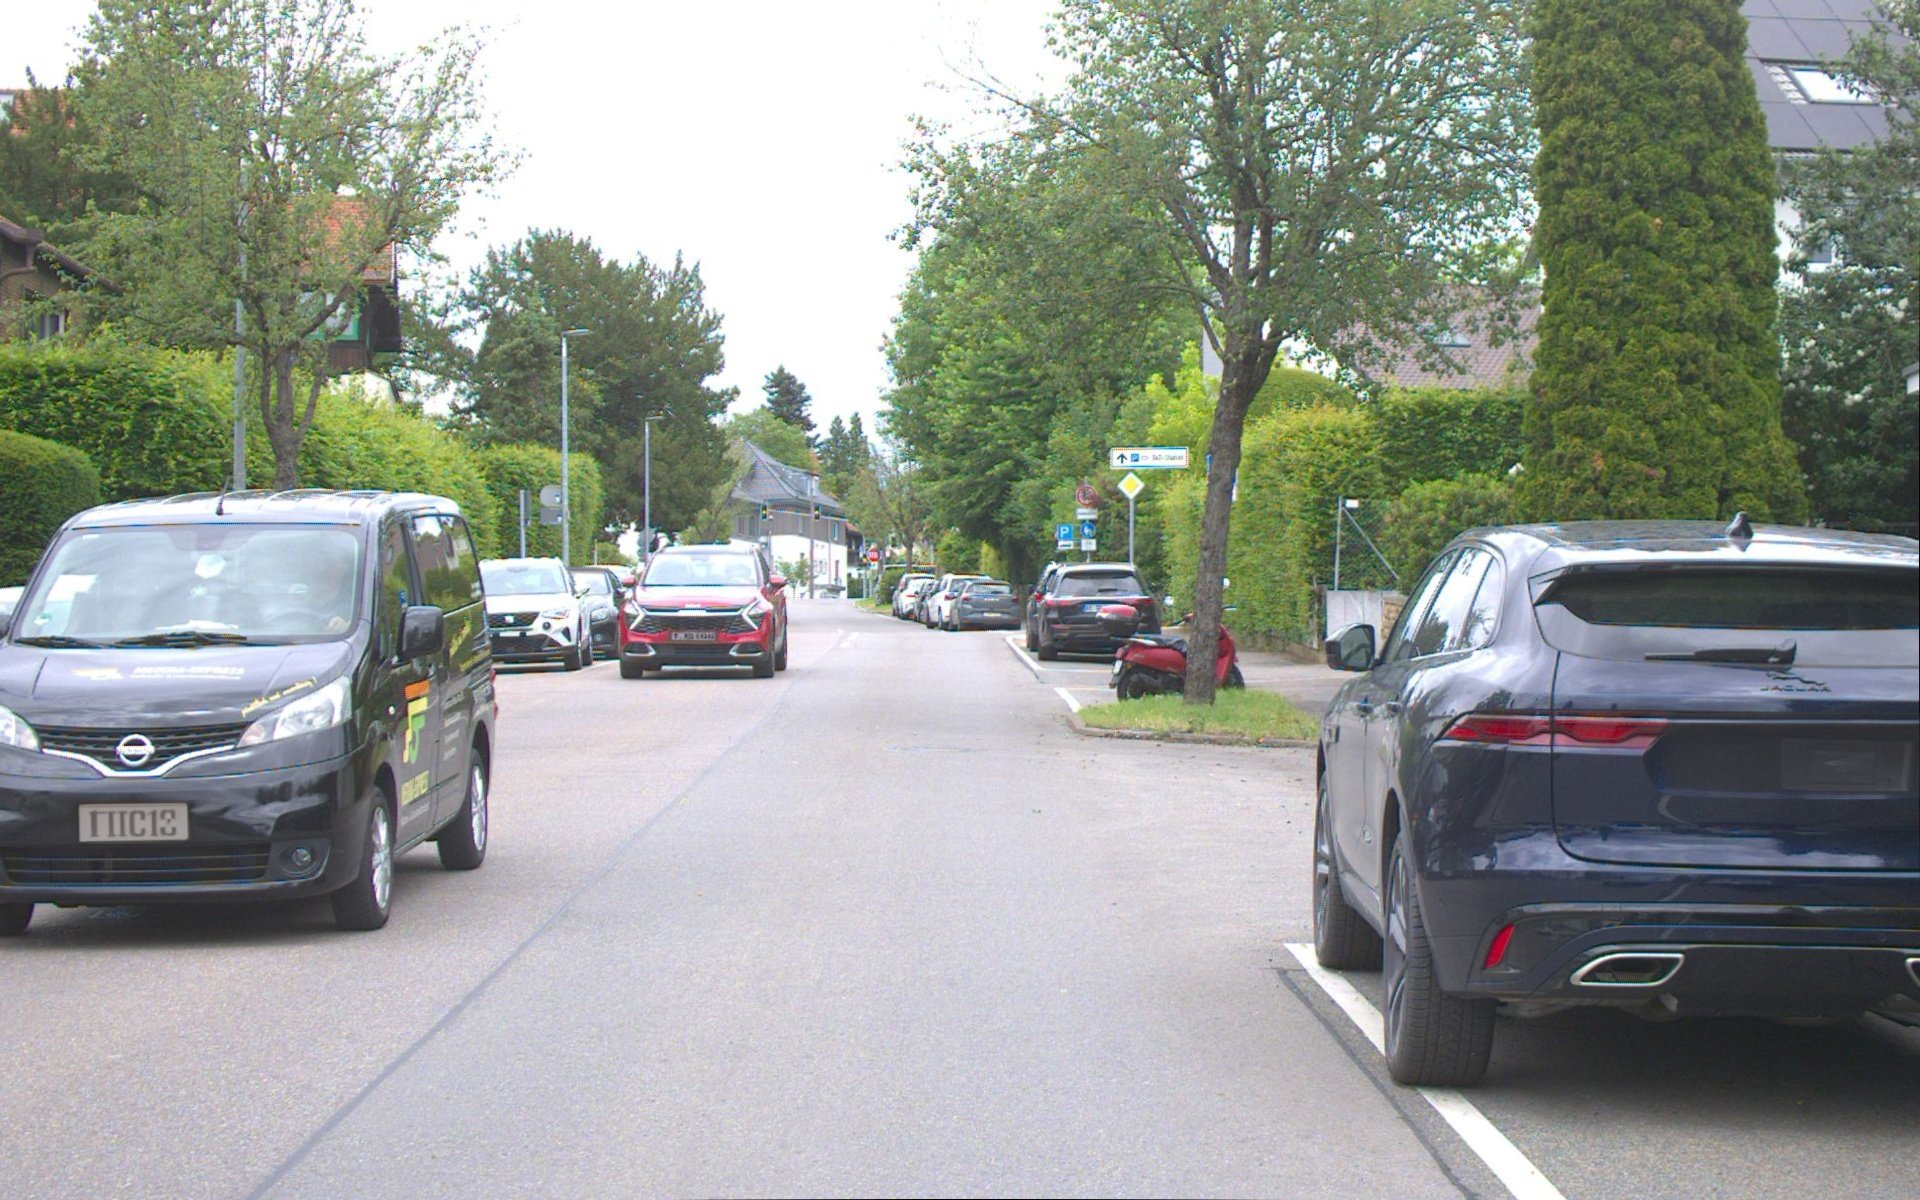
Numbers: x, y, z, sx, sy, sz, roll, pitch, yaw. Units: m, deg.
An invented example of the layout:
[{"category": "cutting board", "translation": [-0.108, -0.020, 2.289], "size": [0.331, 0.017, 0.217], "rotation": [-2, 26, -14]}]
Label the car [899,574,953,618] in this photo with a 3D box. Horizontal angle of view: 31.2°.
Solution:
[{"category": "car", "translation": [-1.203, -0.143, 121.604], "size": [1.664, 1.495, 3.468], "rotation": [0, 1, -4]}]

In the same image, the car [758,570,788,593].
[{"category": "car", "translation": [-11.845, -1.170, 217.198], "size": [1.822, 1.415, 4.001], "rotation": [0, 1, -4]}]

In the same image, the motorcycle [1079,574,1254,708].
[{"category": "motorcycle", "translation": [2.159, 0.411, 35.809], "size": [1.863, 1.342, 0.599], "rotation": [-1, 1, -36]}]

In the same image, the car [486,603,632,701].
[{"category": "car", "translation": [-6.087, 0.783, 52.598], "size": [1.762, 1.383, 4.000], "rotation": [-2, -1, -1]}]

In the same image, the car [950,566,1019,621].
[{"category": "car", "translation": [0.667, -0.207, 96.911], "size": [1.664, 1.495, 3.468], "rotation": [0, 1, -4]}]

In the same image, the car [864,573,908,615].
[{"category": "car", "translation": [-3.106, -0.264, 143.352], "size": [1.643, 1.662, 3.468], "rotation": [0, 1, -4]}]

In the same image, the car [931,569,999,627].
[{"category": "car", "translation": [0.133, -0.068, 101.344], "size": [1.713, 1.652, 3.623], "rotation": [0, 1, -4]}]

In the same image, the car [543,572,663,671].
[{"category": "car", "translation": [-5.947, 0.334, 57.584], "size": [1.630, 1.518, 3.638], "rotation": [-2, 1, -1]}]

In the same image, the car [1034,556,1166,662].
[{"category": "car", "translation": [2.135, 0.110, 53.428], "size": [1.882, 1.528, 4.475], "rotation": [1, 1, 1]}]

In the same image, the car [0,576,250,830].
[{"category": "car", "translation": [-5.899, 0.598, 21.986], "size": [1.837, 1.417, 4.408], "rotation": [-2, 1, -1]}]

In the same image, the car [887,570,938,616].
[{"category": "car", "translation": [-1.793, -0.272, 128.425], "size": [1.664, 1.662, 3.468], "rotation": [0, 1, -4]}]

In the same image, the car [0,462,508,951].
[{"category": "car", "translation": [-3.234, 0.382, 15.333], "size": [1.885, 1.844, 4.402], "rotation": [-1, 1, -1]}]

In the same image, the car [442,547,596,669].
[{"category": "car", "translation": [-5.938, 0.070, 46.642], "size": [1.722, 1.535, 4.001], "rotation": [-1, 1, -3]}]

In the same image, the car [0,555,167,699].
[{"category": "car", "translation": [-11.361, 0.252, 39.503], "size": [3.987, 1.528, 1.787], "rotation": [2, 1, 4]}]

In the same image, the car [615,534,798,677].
[{"category": "car", "translation": [-3.111, 0.040, 42.992], "size": [1.941, 1.641, 4.258], "rotation": [-2, 1, 0]}]

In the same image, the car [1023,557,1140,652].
[{"category": "car", "translation": [2.069, 0.039, 59.504], "size": [1.882, 1.528, 4.475], "rotation": [1, 1, 1]}]

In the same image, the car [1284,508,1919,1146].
[{"category": "car", "translation": [2.228, 0.585, 11.180], "size": [1.993, 1.612, 4.513], "rotation": [2, 0, 2]}]
